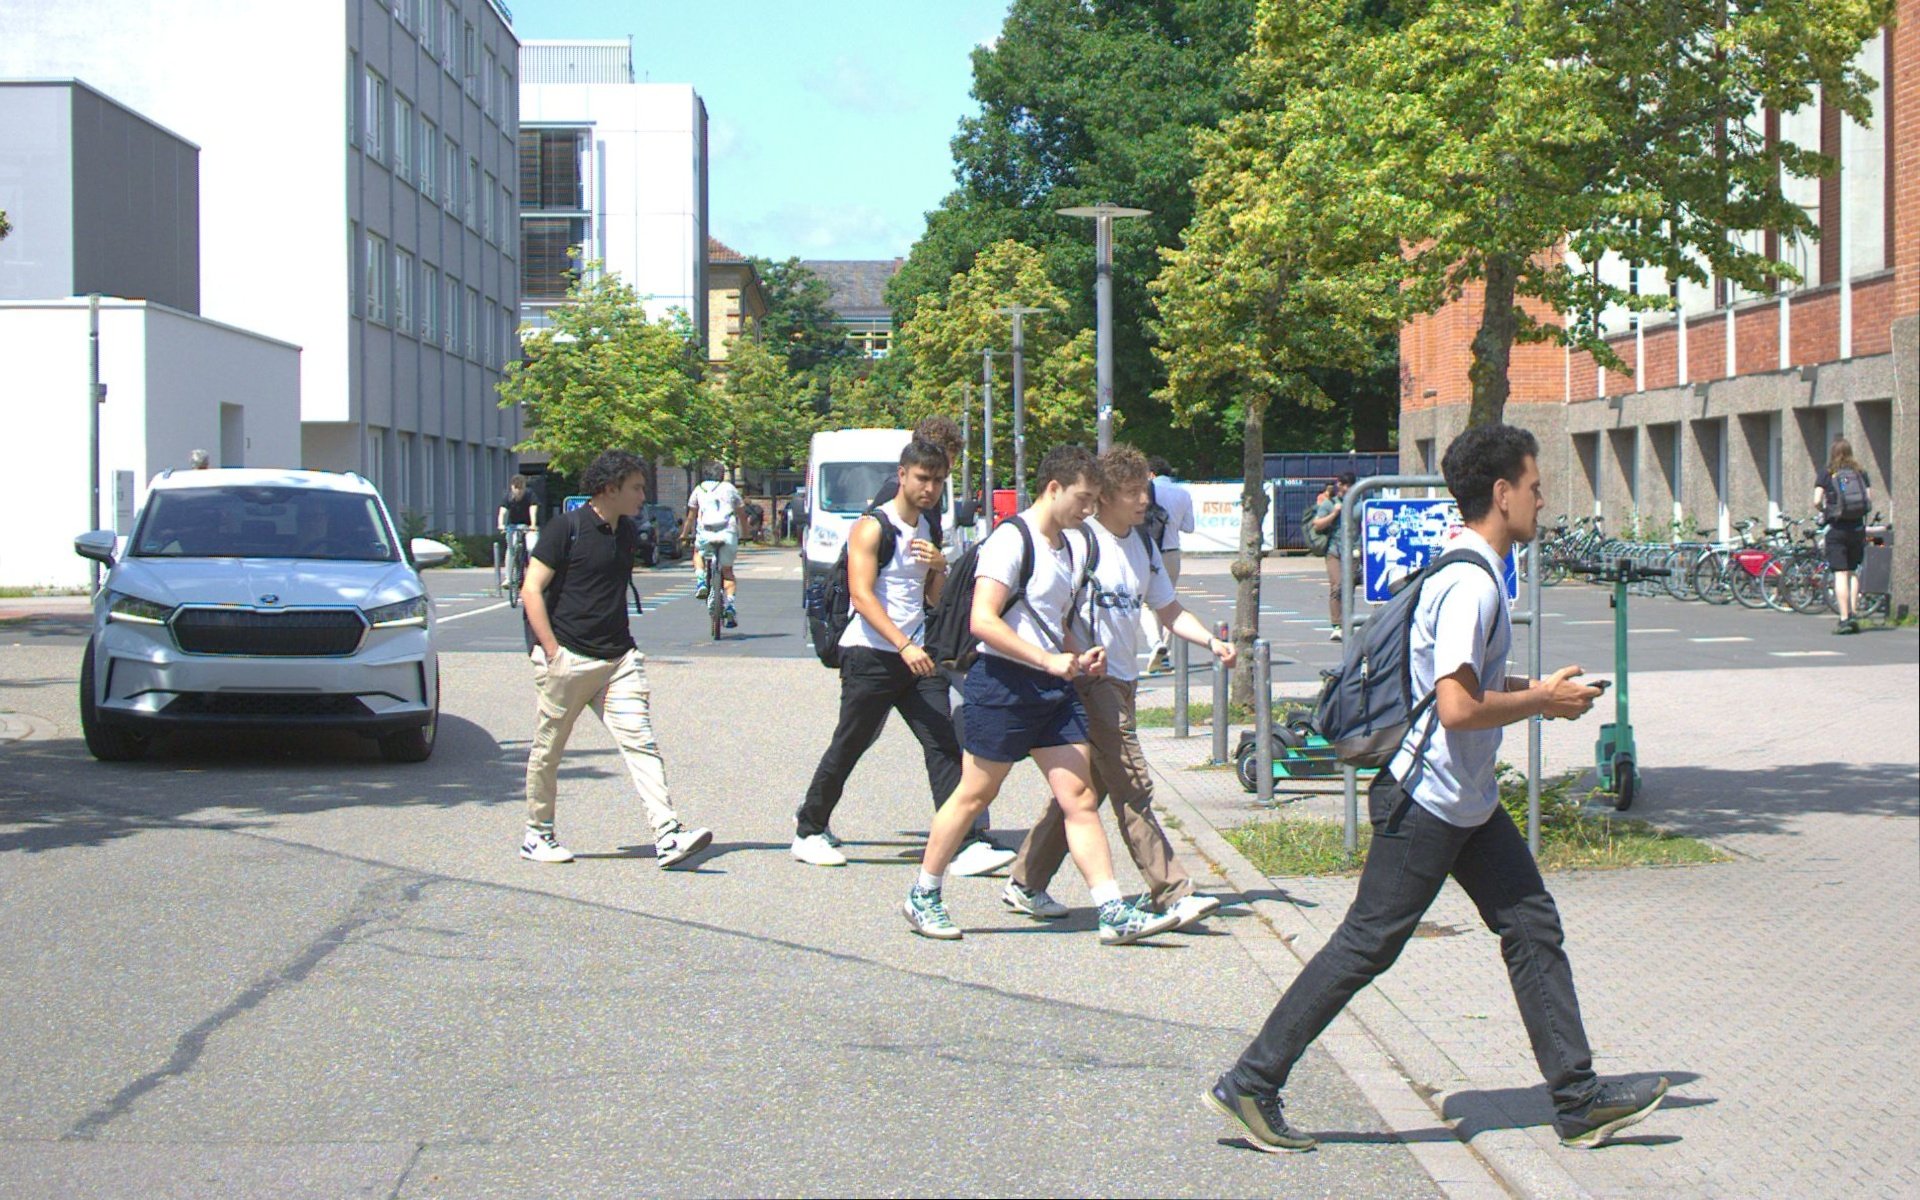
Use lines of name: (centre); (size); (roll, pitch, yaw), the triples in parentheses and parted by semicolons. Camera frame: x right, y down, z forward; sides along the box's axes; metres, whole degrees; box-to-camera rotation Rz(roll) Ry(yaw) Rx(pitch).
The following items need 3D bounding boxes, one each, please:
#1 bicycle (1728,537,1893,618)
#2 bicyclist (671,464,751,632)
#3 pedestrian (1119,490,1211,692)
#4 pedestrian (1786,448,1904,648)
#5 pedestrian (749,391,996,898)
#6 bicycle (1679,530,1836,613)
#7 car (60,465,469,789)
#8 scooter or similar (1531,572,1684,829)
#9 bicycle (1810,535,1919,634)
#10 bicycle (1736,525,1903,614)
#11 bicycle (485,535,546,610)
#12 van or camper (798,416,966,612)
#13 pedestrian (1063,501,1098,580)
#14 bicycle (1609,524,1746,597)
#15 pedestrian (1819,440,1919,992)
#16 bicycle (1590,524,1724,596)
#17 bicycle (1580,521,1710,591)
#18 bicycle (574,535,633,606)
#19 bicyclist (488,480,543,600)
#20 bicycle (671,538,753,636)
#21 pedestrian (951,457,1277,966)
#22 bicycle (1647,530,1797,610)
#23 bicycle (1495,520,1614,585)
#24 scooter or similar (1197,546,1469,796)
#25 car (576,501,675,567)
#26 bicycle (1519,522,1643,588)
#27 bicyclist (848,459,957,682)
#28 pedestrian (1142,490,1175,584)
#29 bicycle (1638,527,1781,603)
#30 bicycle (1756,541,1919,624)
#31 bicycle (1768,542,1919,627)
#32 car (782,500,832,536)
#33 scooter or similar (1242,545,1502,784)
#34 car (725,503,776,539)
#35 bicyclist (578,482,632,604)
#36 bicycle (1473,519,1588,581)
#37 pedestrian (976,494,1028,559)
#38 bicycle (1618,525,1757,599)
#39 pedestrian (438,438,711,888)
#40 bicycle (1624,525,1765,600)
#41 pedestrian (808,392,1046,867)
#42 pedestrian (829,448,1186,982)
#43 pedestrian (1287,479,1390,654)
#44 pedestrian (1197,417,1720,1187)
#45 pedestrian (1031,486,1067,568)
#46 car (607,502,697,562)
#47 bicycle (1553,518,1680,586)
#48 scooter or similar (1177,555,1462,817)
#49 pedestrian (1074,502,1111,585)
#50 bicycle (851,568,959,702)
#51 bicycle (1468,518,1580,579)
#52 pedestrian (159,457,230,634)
bicycle: (10.195, -0.275, 41.236); (1.809, 0.909, 0.560); (-2, 2, -2)
bicyclist: (-2.650, -0.557, 36.645); (0.771, 1.750, 0.848); (-2, 1, -2)
pedestrian: (1.743, -0.089, 29.304); (0.702, 1.689, 0.962); (0, 2, -1)
pedestrian: (8.394, -0.502, 32.643); (0.790, 1.853, 1.116); (-1, 2, -2)
pedestrian: (-0.361, 0.168, 13.883); (0.616, 1.973, 0.829); (-1, 0, -33)
bicycle: (9.982, -0.357, 43.052); (1.809, 0.981, 0.560); (-2, 2, -2)
car: (-3.950, 0.112, 20.210); (1.917, 1.613, 4.521); (3, 1, -7)
scooter or similar: (3.126, 0.460, 16.536); (0.649, 1.156, 1.264); (0, 2, 14)
bicycle: (10.005, -0.177, 37.037); (1.535, 1.029, 0.560); (-1, 2, -2)
bicycle: (10.112, -0.363, 40.474); (1.809, 0.981, 0.560); (-2, 2, -2)
bicycle: (-6.019, -0.382, 46.593); (0.677, 0.961, 2.003); (1, 2, -4)
van or camper: (-0.983, -1.117, 45.591); (1.993, 2.437, 4.570); (-1, 1, 1)
pedestrian: (2.852, -1.420, 81.373); (0.790, 1.853, 1.026); (0, 1, 0)
bicycle: (10.217, -0.571, 48.979); (1.809, 0.981, 0.560); (-2, 2, -2)
pedestrian: (3.337, 0.345, 10.771); (0.993, 1.714, 0.702); (0, 2, 44)
bicycle: (10.166, -0.588, 50.171); (1.809, 0.981, 0.560); (-2, 2, -2)
bicycle: (10.260, -0.663, 51.526); (1.809, 0.981, 0.560); (-2, 2, -2)
bicycle: (-5.008, -0.417, 48.322); (0.677, 0.961, 2.003); (1, 0, -2)
bicyclist: (-6.029, -0.820, 46.673); (0.643, 1.596, 0.909); (-1, 2, -3)
bicycle: (-2.633, -0.154, 36.713); (0.808, 0.999, 2.124); (0, 2, -2)
pedestrian: (0.547, 0.367, 12.242); (0.908, 1.733, 0.677); (2, 1, 37)
bicycle: (9.960, -0.395, 44.954); (1.809, 0.981, 0.560); (-2, 2, -2)
bicycle: (9.608, -0.770, 55.584); (1.809, 0.981, 0.560); (-2, 2, -2)
scooter or similar: (1.960, 0.350, 18.067); (1.262, 1.260, 0.650); (0, 2, 31)
car: (-7.957, -1.605, 82.158); (1.795, 1.524, 4.000); (0, 2, 3)
bicycle: (9.758, -0.714, 54.053); (1.809, 0.981, 0.560); (-2, 2, -2)
bicyclist: (-0.435, -0.235, 26.433); (0.717, 1.656, 1.095); (-2, 1, 3)
pedestrian: (3.955, -1.254, 68.569); (0.576, 1.853, 0.570); (-1, 1, -3)
bicycle: (10.273, -0.487, 47.150); (1.809, 0.981, 0.560); (-2, 2, -2)
bicycle: (10.199, -0.208, 39.831); (1.809, 0.909, 0.560); (-1, 2, -2)
bicycle: (10.144, -0.182, 38.975); (1.809, 0.909, 0.560); (-1, 2, -2)
car: (-6.574, -3.539, 148.130); (1.795, 1.524, 4.000); (0, 2, 3)
scooter or similar: (2.263, 0.334, 18.885); (1.262, 1.260, 0.638); (0, 2, 31)
car: (-9.019, -3.405, 148.285); (1.795, 1.524, 4.000); (0, 2, 3)
bicyclist: (-4.986, -0.806, 48.284); (0.667, 1.676, 0.993); (-1, 1, -3)
bicycle: (9.612, -0.845, 57.921); (1.809, 0.981, 0.560); (-2, 2, -2)
pedestrian: (1.357, -2.382, 111.553); (1.499, 1.989, 1.647); (-3, 2, -3)
bicycle: (10.220, -0.542, 48.338); (1.809, 0.981, 0.560); (-2, 2, -2)
pedestrian: (-1.560, 0.226, 14.020); (0.802, 1.766, 0.854); (1, 2, 20)
bicycle: (10.192, -0.518, 47.750); (1.809, 0.981, 0.560); (-2, 2, -2)
pedestrian: (-0.135, 0.106, 14.726); (0.827, 1.973, 0.691); (1, 2, 20)
pedestrian: (0.161, 0.356, 11.703); (0.982, 1.733, 0.699); (1, 2, 37)
pedestrian: (3.806, -0.344, 34.646); (0.853, 1.727, 1.160); (-1, 2, -3)
pedestrian: (1.135, 0.443, 8.008); (1.105, 1.710, 0.710); (0, 1, -1)
pedestrian: (2.031, -1.665, 78.572); (0.790, 1.853, 1.243); (0, 2, 0)
car: (-7.999, -1.789, 89.572); (1.795, 1.524, 4.000); (0, 2, 3)
bicycle: (10.061, -0.740, 52.720); (1.809, 0.981, 0.560); (-2, 2, -2)
scooter or similar: (1.808, 0.409, 17.291); (1.262, 1.260, 0.650); (0, 2, 31)
pedestrian: (3.012, -1.294, 78.350); (0.790, 1.853, 1.026); (0, 1, 0)
bicycle: (-0.411, 0.268, 26.485); (0.706, 0.990, 1.910); (0, 0, 3)
bicycle: (9.657, -0.882, 58.885); (1.809, 0.981, 0.560); (-2, 2, -2)
pedestrian: (-7.800, -0.550, 35.010); (0.666, 1.779, 0.985); (0, 0, -14)
